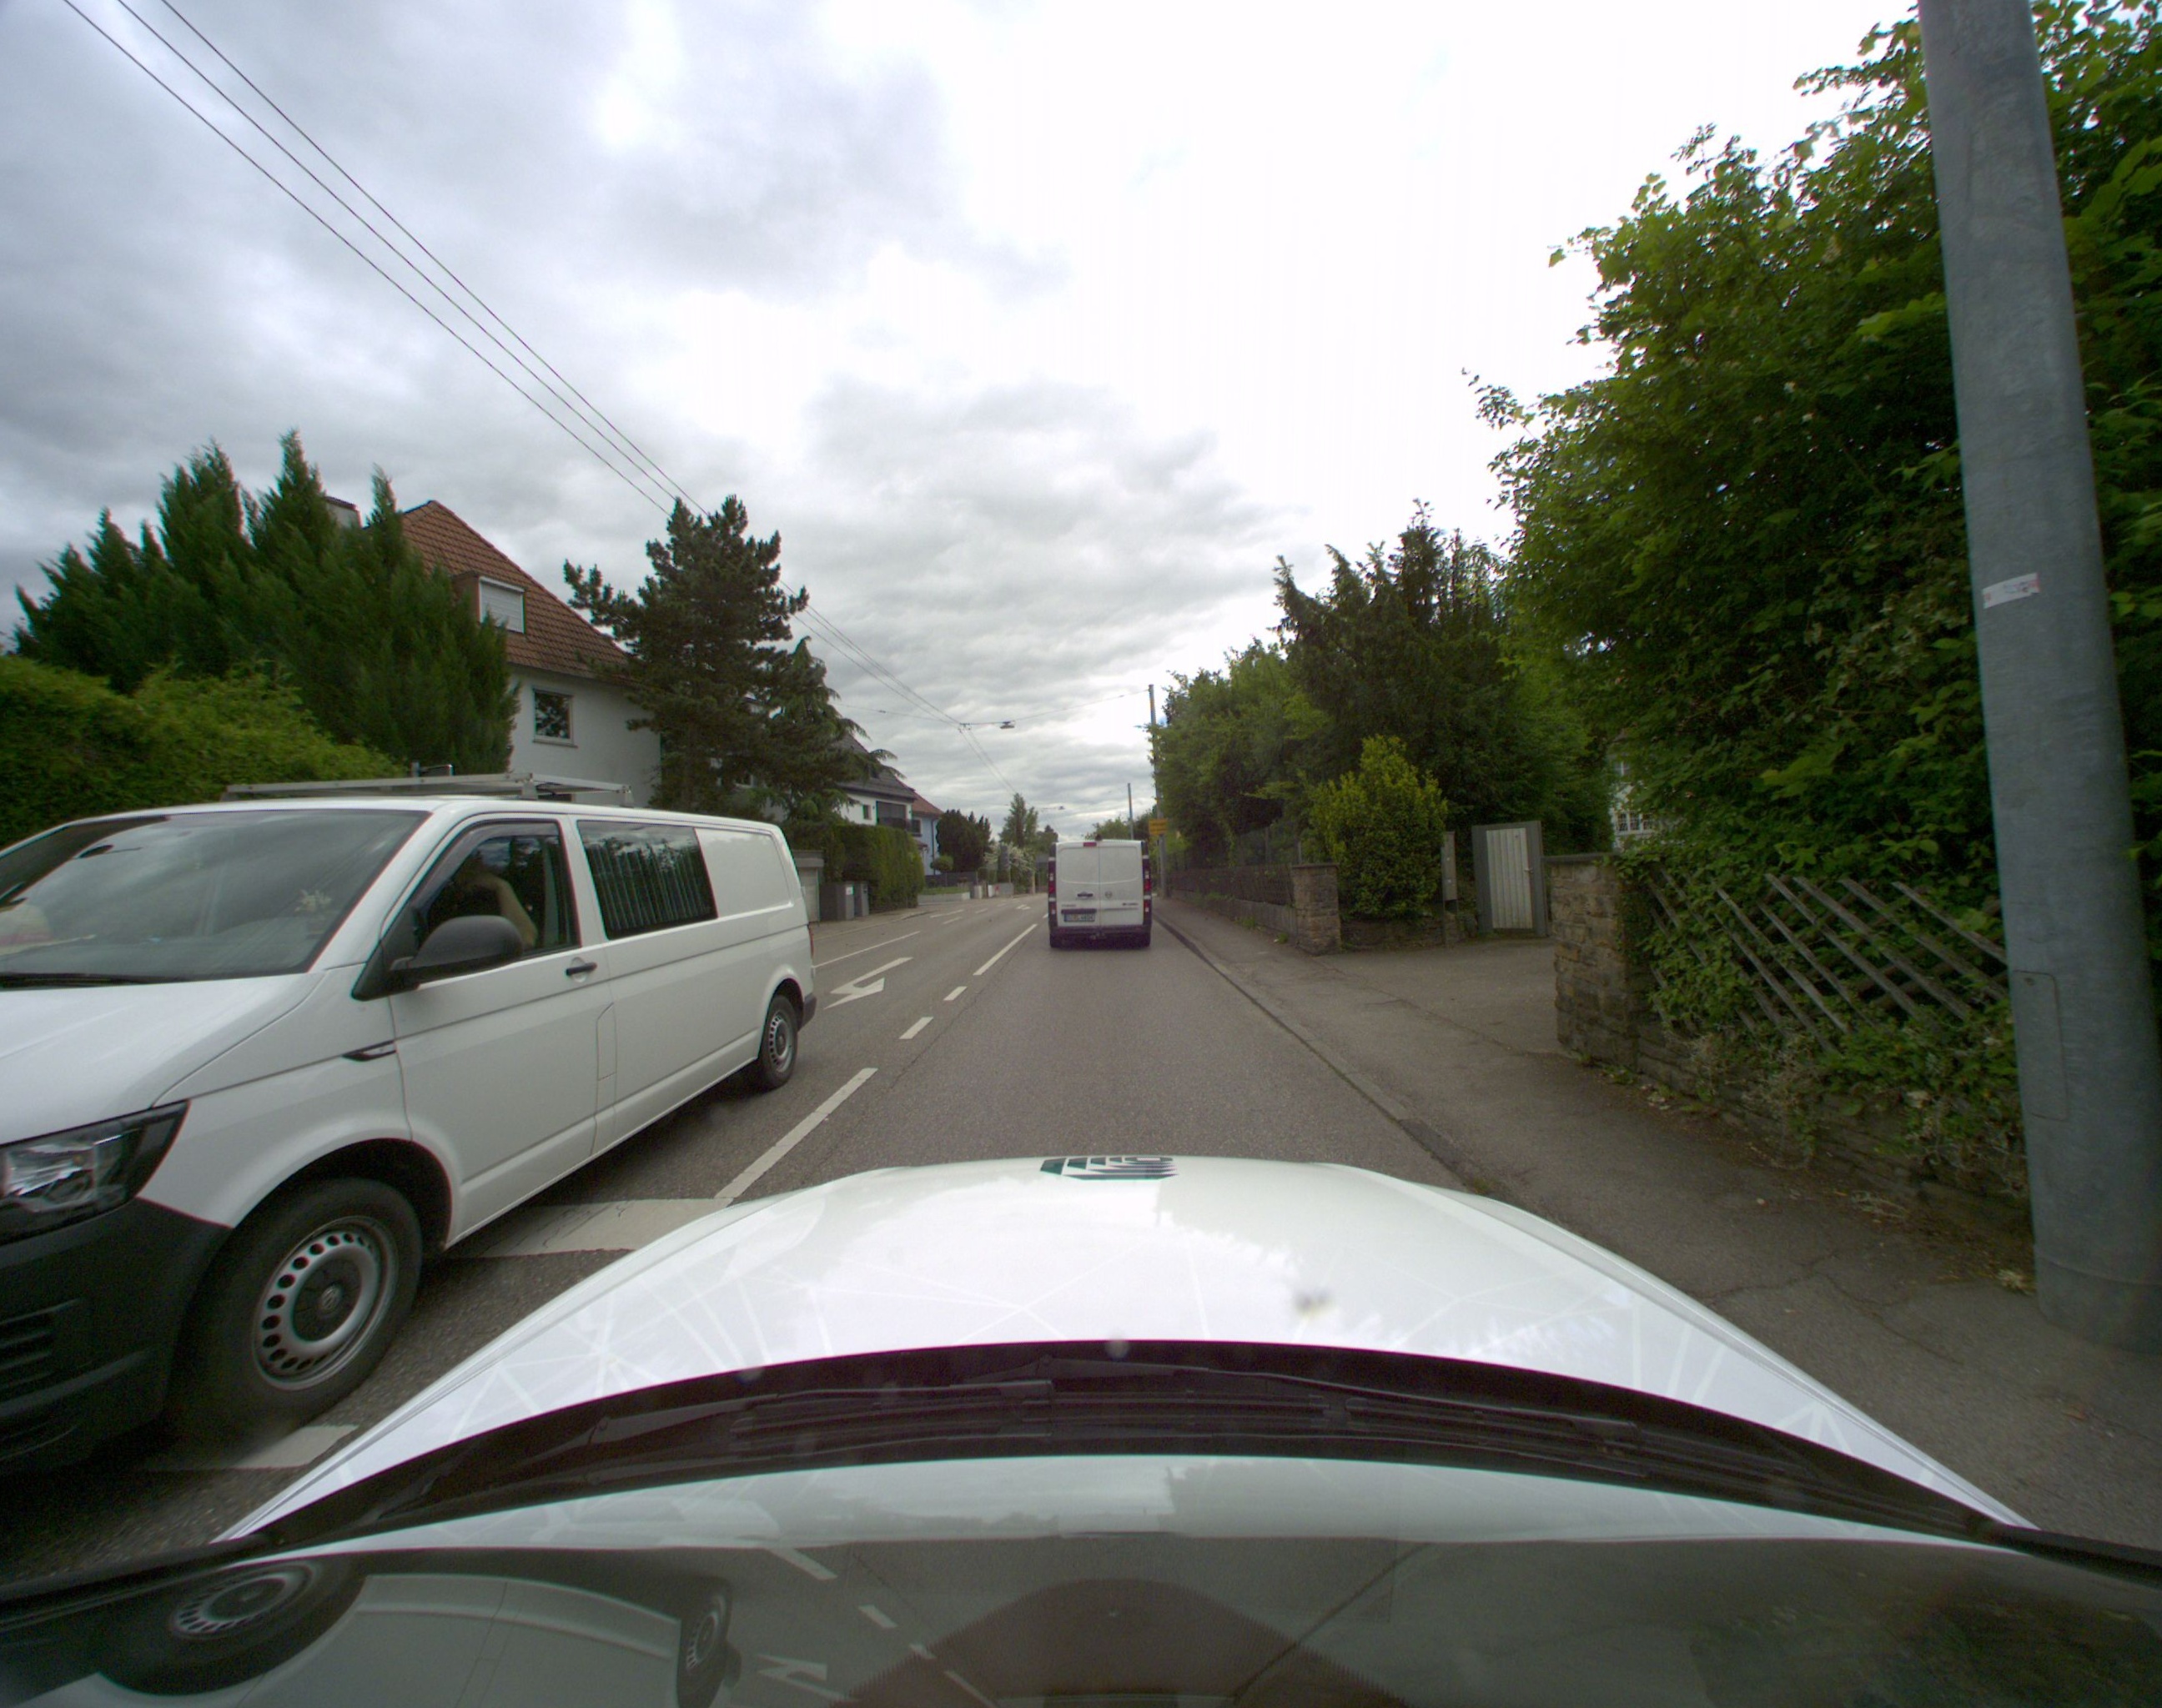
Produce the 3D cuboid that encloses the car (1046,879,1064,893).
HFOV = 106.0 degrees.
[{"bbox_3d":[-3.176,3.932,100.074,1.803,1.455,4.413,-6,-2,1],"label":"car"}]

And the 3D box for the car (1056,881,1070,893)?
[{"bbox_3d":[-2.510,4.607,114.877,1.672,1.556,3.972,-5,-3,2],"label":"car"}]

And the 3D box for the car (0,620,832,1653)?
[{"bbox_3d":[-3.048,0.626,4.024,1.852,2.048,5.172,-3,-1,1],"label":"car"}]

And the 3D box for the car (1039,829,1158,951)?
[{"bbox_3d":[0.346,0.654,16.399,1.999,2.038,5.010,-1,-1,1],"label":"car"}]
